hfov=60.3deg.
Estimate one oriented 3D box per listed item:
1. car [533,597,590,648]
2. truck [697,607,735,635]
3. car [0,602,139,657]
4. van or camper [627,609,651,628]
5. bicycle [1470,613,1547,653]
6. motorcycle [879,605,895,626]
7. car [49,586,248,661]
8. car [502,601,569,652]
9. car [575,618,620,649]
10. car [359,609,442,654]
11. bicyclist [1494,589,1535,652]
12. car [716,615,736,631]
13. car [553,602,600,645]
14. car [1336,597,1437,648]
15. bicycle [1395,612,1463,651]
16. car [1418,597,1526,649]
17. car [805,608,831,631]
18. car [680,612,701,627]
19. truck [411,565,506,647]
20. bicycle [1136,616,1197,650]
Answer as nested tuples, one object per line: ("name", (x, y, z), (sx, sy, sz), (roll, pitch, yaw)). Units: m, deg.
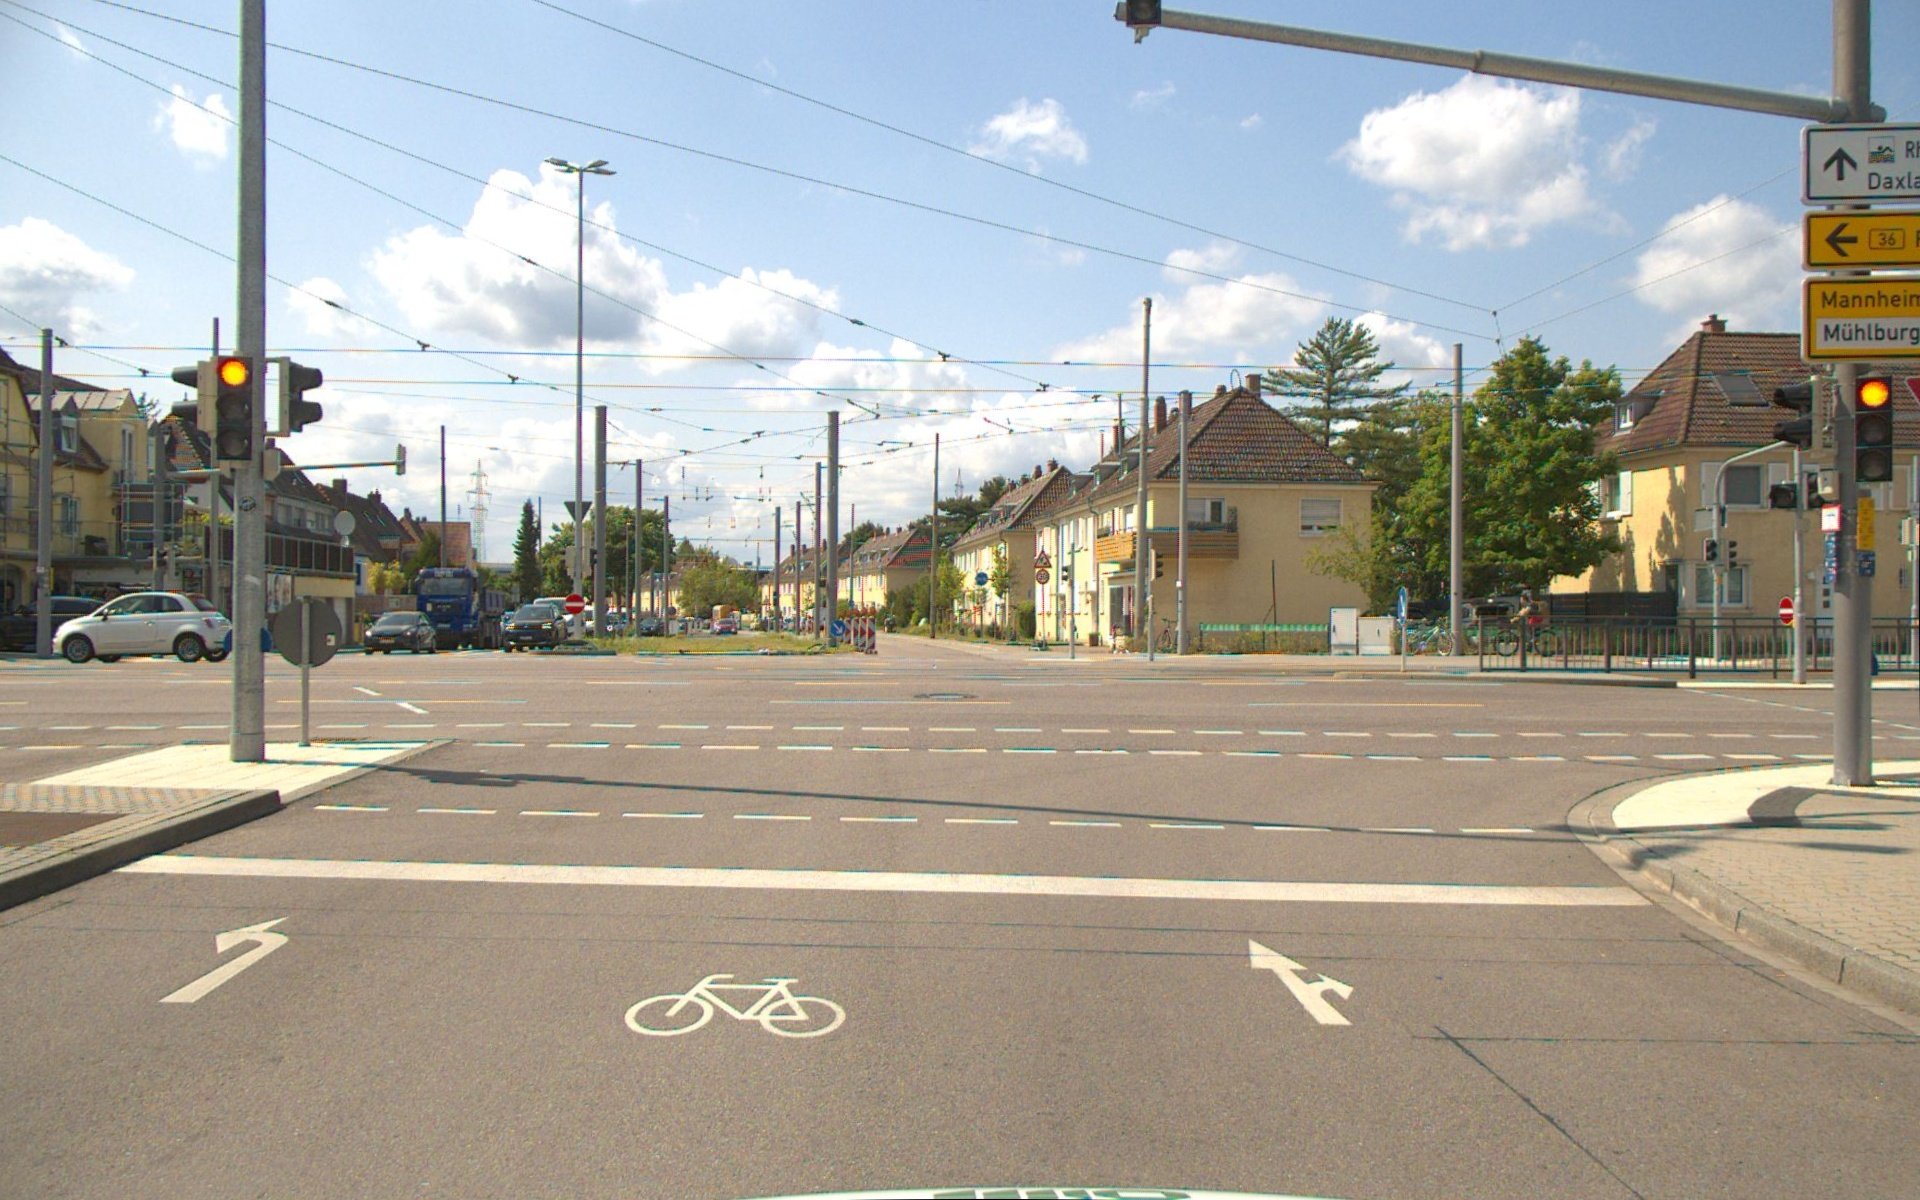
("car", (-15.793, 0.900, 65.718), (1.780, 1.955, 4.738), (0, -1, -9))
("truck", (-32.035, 2.724, 216.997), (2.606, 3.555, 9.366), (0, -1, -24))
("car", (-26.818, 0.861, 49.198), (4.058, 1.519, 1.177), (2, -1, -9))
("van or camper", (-48.339, 2.809, 248.799), (2.651, 2.749, 6.482), (0, 0, -19))
("bicycle", (15.652, 0.929, 47.223), (1.992, 1.121, 0.713), (-1, -1, 35))
("motorcycle", (-5.846, 1.207, 131.921), (1.046, 1.664, 2.079), (0, -1, -9))
("car", (-17.423, 0.497, 35.625), (3.472, 1.534, 1.583), (1, 0, -6))
("car", (-15.173, 0.902, 59.311), (1.752, 1.751, 4.434), (0, 0, -7))
("car", (-17.628, 1.611, 80.498), (1.879, 1.444, 3.992), (0, -1, -9))
("car", (-19.494, 1.091, 57.764), (1.792, 1.513, 4.328), (0, -1, -6))
("bicyclist", (15.911, 0.589, 47.460), (0.940, 1.806, 0.717), (-1, -1, 34))
("car", (-22.030, 2.187, 156.028), (1.808, 1.520, 4.848), (0, -1, -7))
("car", (-17.021, 1.038, 73.568), (1.700, 1.813, 4.396), (0, -1, -9))
("car", (14.294, 0.792, 55.601), (1.789, 1.649, 3.990), (0, -2, -10))
("bicycle", (13.770, 0.909, 48.572), (1.773, 1.124, 0.699), (0, -1, 39))
("car", (17.056, 0.792, 55.279), (1.789, 1.649, 3.990), (0, -2, -10))
("car", (-13.457, 1.876, 157.040), (2.028, 2.187, 4.866), (0, -1, -10))
("car", (-36.107, 2.618, 221.488), (1.966, 1.944, 3.973), (0, 0, -22))
("truck", (-20.927, 0.307, 69.350), (2.717, 3.244, 7.567), (0, -1, -9))
("bicycle", (6.919, 1.100, 55.615), (0.589, 1.116, 2.244), (1, -1, -40))
